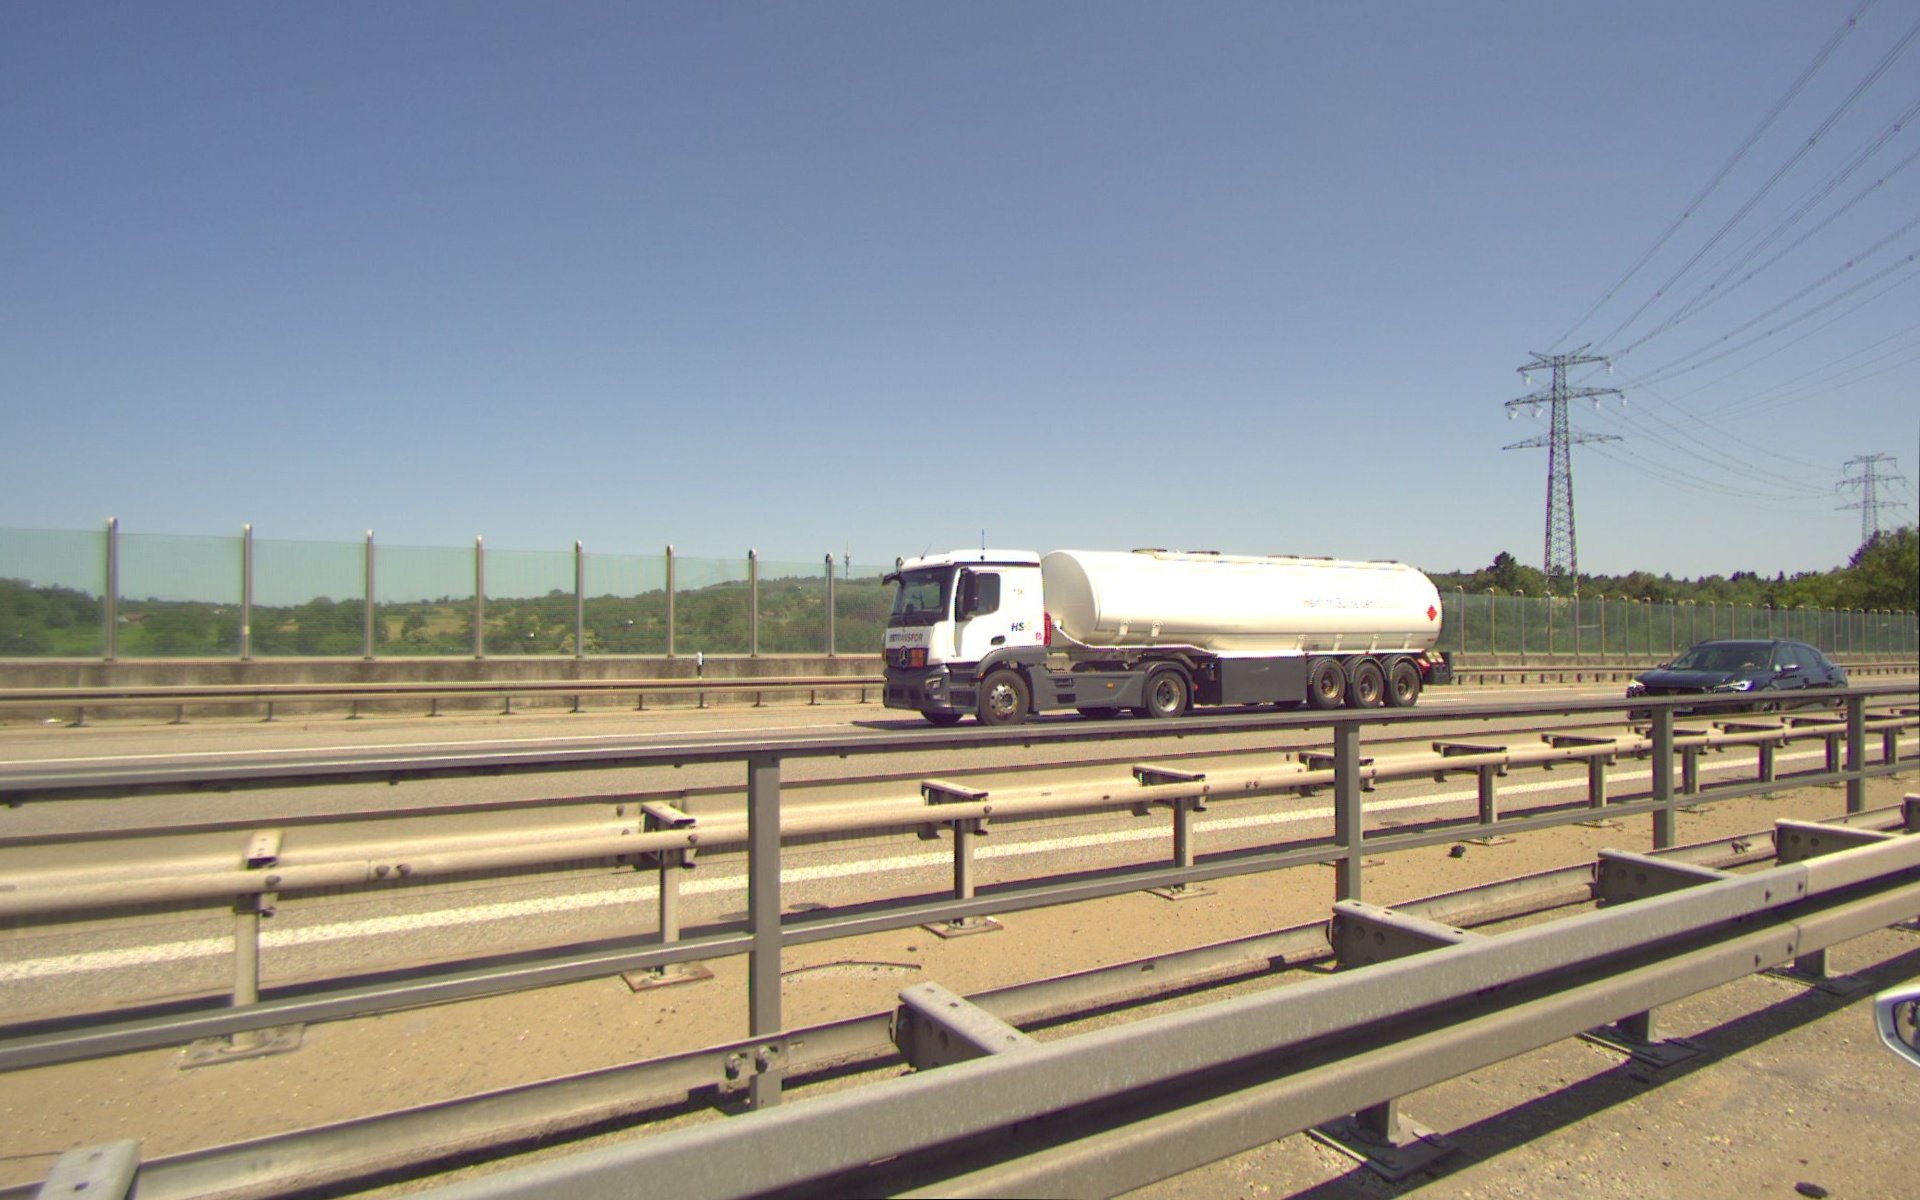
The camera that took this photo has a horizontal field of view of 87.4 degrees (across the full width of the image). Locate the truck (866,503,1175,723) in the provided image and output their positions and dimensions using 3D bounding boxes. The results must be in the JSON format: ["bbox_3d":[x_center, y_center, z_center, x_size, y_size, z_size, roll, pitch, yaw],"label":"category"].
[{"bbox_3d":[1.173,0.338,18.756,5.266,3.581,2.510,2,-3,-30],"label":"truck"}]

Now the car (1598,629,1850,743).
[{"bbox_3d":[12.442,1.325,16.304,4.143,1.572,1.872,2,0,-32],"label":"car"}]

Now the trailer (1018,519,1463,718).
[{"bbox_3d":[6.441,0.551,21.805,10.774,3.586,2.487,2,-3,-30],"label":"trailer"}]
